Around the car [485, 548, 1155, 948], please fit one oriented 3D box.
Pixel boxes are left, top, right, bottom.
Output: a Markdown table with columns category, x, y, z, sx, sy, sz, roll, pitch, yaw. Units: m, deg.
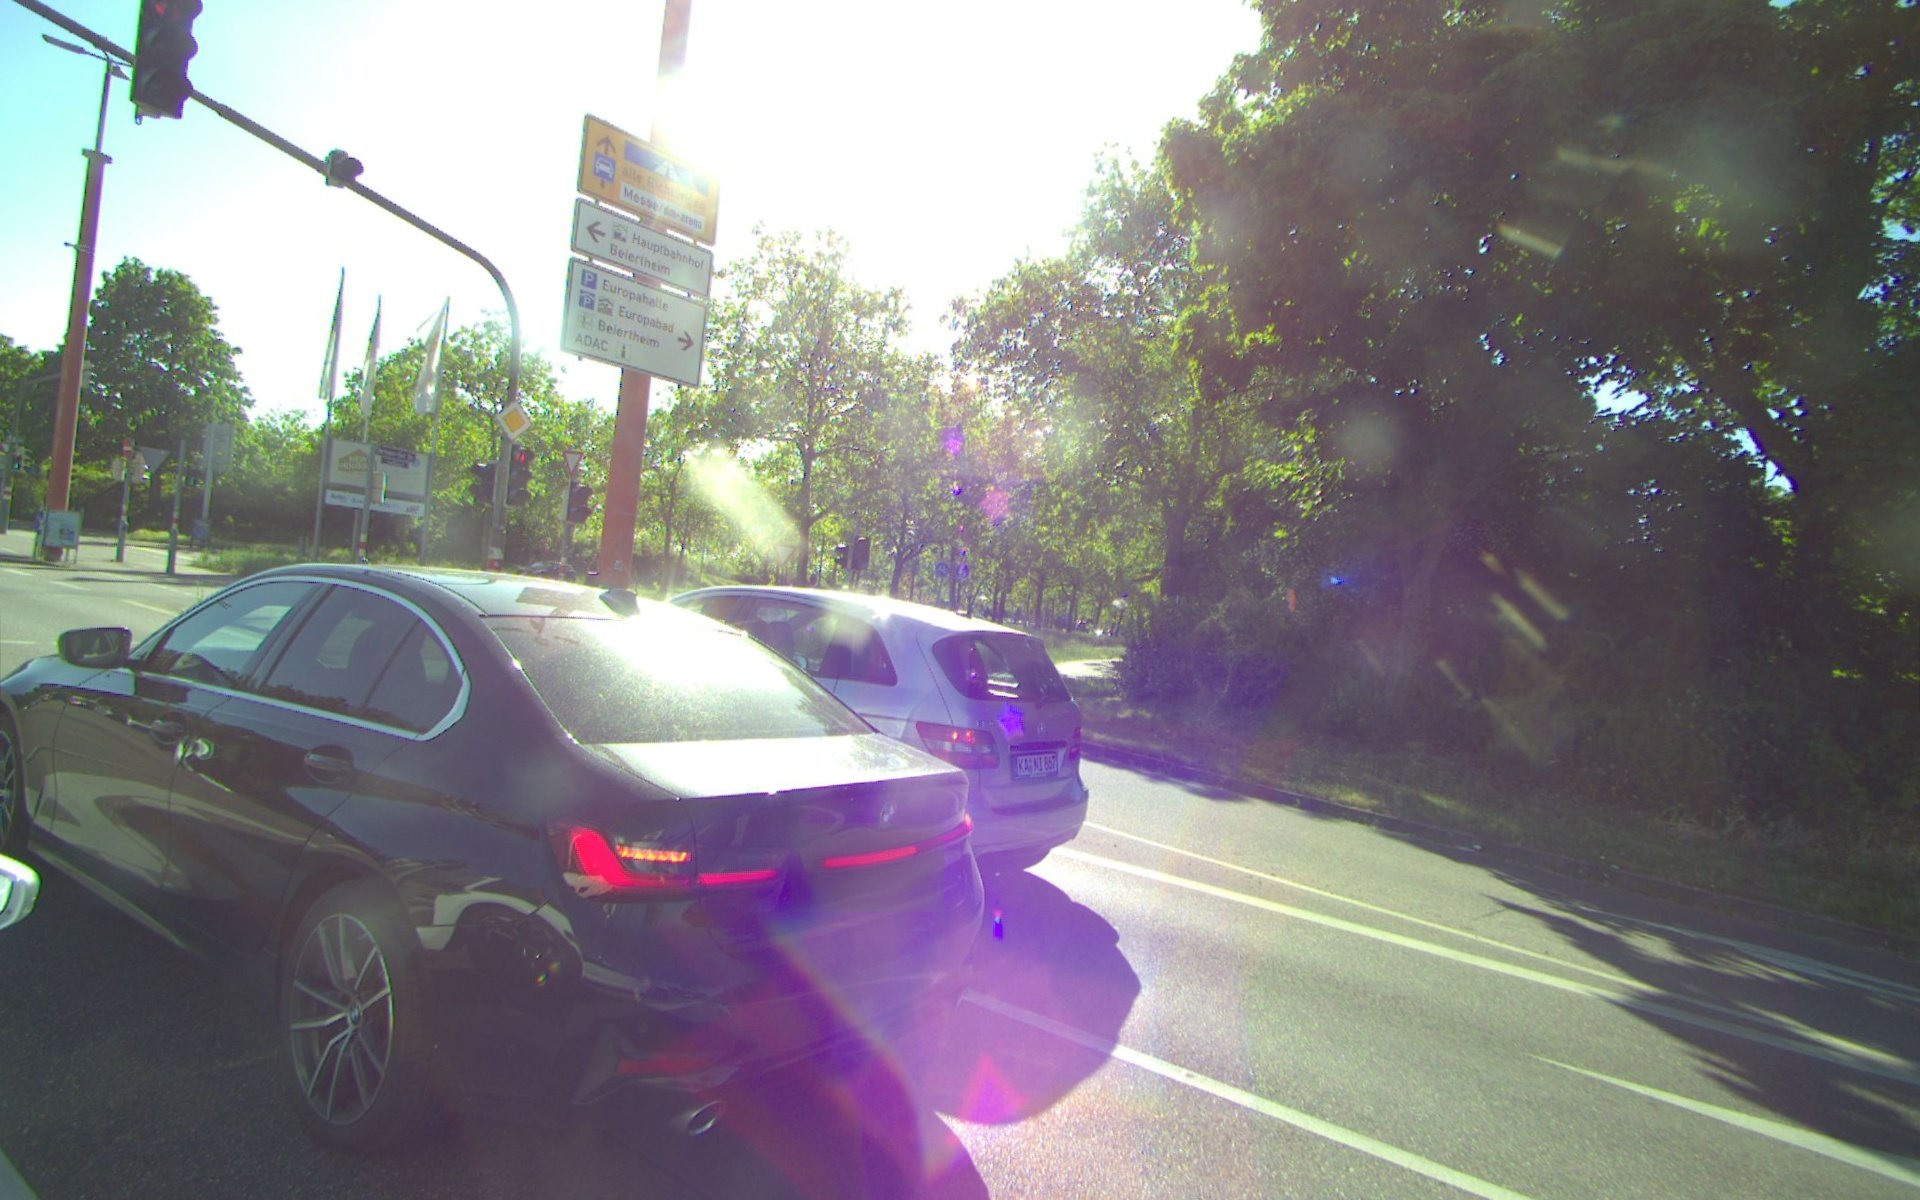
| category | x | y | z | sx | sy | sz | roll | pitch | yaw |
| --- | --- | --- | --- | --- | --- | --- | --- | --- | --- |
| car | -1.014 | 0.703 | 6.480 | 3.963 | 1.597 | 1.741 | 7 | 0 | 33 |

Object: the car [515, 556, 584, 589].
| category | x | y | z | sx | sy | sz | roll | pitch | yaw |
| --- | --- | --- | --- | --- | --- | --- | --- | --- | --- |
| car | -26.235 | -1.733 | 64.430 | 1.834 | 1.597 | 4.002 | 7 | -1 | 17 |

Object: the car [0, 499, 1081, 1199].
| category | x | y | z | sx | sy | sz | roll | pitch | yaw |
| --- | --- | --- | --- | --- | --- | --- | --- | --- | --- |
| car | -1.979 | 0.543 | 3.855 | 4.372 | 1.415 | 1.871 | 7 | 0 | 34 |
